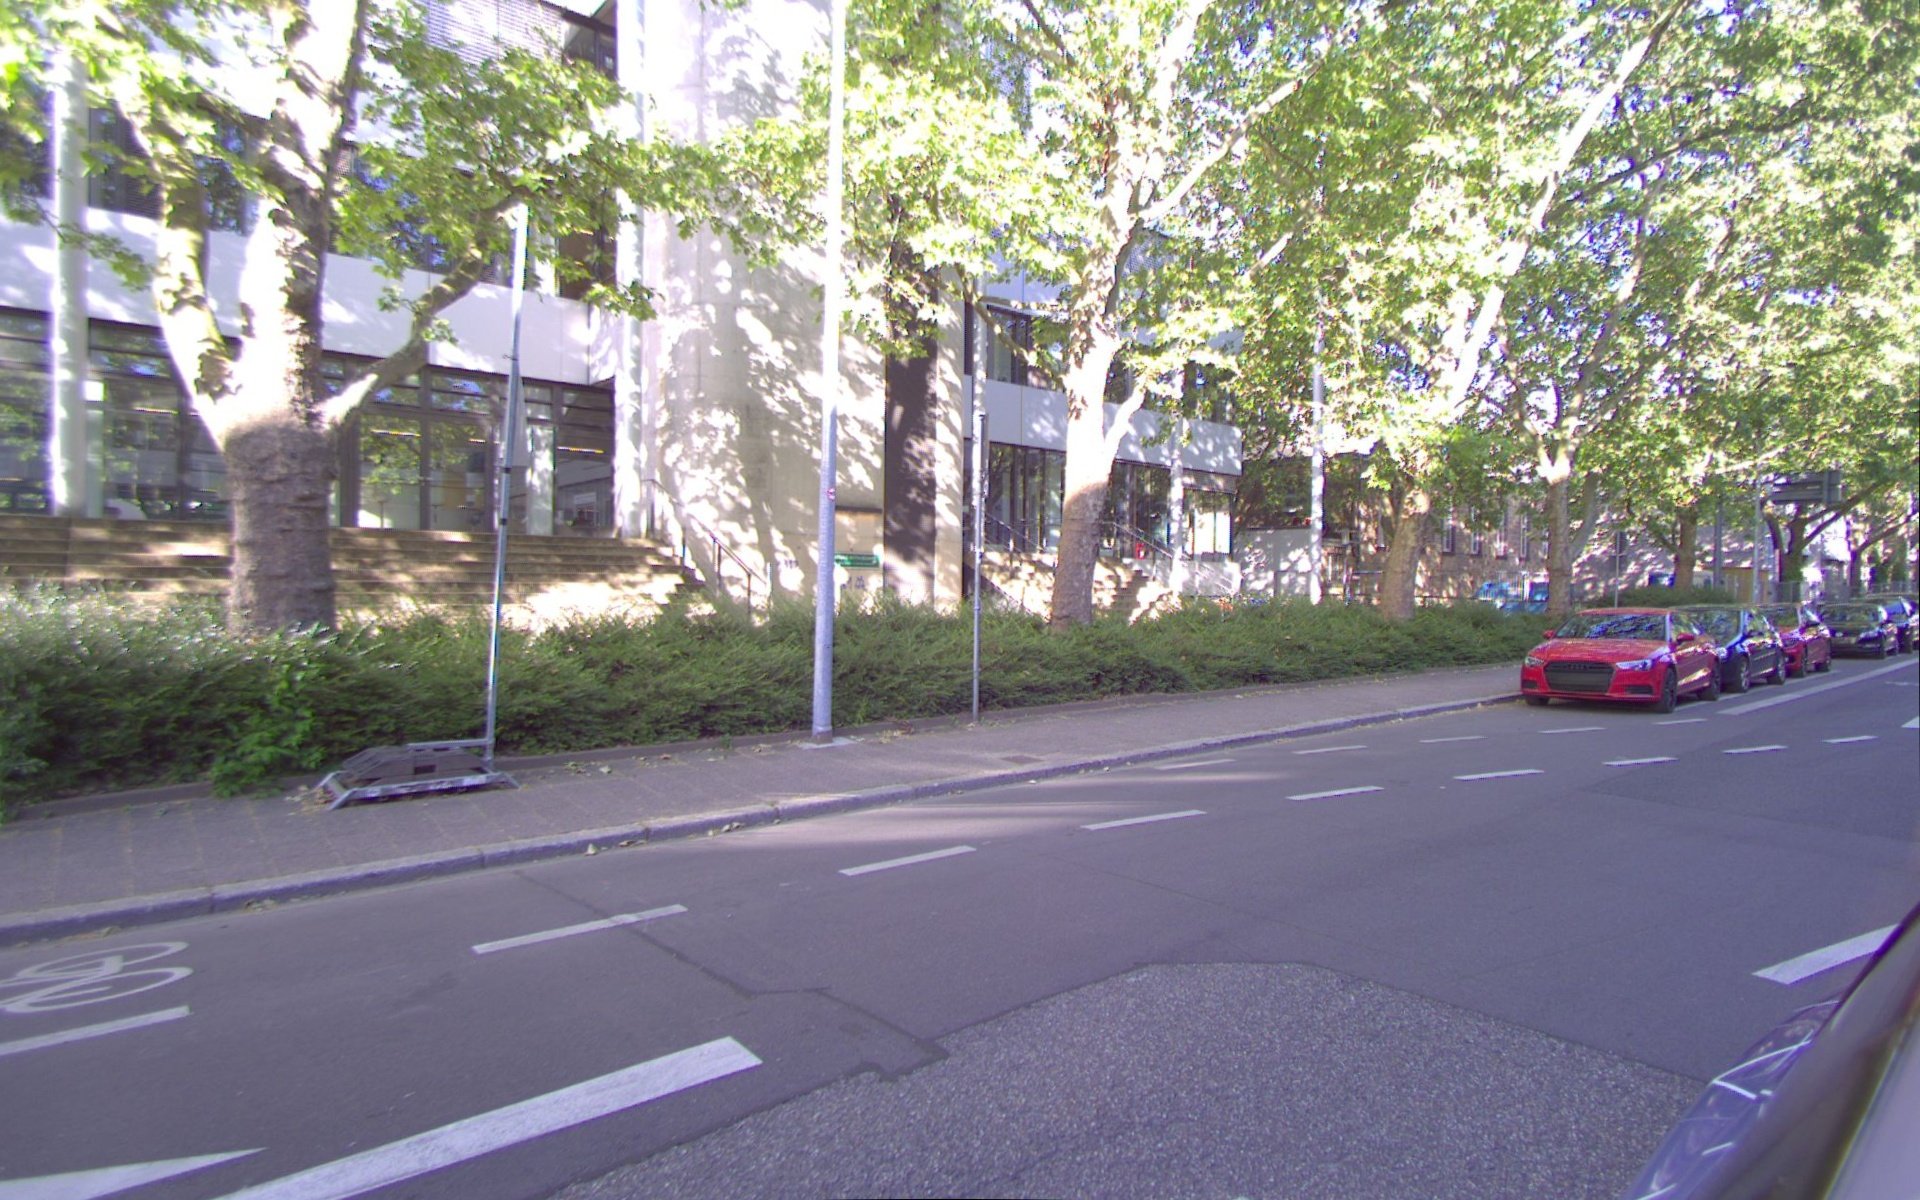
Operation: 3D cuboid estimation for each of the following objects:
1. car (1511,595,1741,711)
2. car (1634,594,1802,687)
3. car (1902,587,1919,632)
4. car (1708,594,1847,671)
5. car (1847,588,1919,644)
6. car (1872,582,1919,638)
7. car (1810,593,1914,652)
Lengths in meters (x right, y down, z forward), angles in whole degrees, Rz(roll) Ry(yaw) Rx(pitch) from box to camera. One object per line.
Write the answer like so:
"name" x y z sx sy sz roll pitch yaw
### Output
"car" 9.895 0.673 14.928 4.053 1.483 1.802 0 0 -41
"car" 13.511 0.641 17.978 3.675 1.483 1.634 0 0 -41
"car" 37.371 0.355 38.672 3.778 1.675 1.634 0 -1 -41
"car" 17.250 0.631 21.307 3.675 1.483 1.634 0 0 -41
"car" 28.169 0.447 30.506 3.778 1.607 1.634 0 -1 -41
"car" 32.397 0.321 34.365 3.778 1.828 1.634 0 -1 -41
"car" 24.434 0.575 27.386 3.675 1.483 1.634 0 0 -41
